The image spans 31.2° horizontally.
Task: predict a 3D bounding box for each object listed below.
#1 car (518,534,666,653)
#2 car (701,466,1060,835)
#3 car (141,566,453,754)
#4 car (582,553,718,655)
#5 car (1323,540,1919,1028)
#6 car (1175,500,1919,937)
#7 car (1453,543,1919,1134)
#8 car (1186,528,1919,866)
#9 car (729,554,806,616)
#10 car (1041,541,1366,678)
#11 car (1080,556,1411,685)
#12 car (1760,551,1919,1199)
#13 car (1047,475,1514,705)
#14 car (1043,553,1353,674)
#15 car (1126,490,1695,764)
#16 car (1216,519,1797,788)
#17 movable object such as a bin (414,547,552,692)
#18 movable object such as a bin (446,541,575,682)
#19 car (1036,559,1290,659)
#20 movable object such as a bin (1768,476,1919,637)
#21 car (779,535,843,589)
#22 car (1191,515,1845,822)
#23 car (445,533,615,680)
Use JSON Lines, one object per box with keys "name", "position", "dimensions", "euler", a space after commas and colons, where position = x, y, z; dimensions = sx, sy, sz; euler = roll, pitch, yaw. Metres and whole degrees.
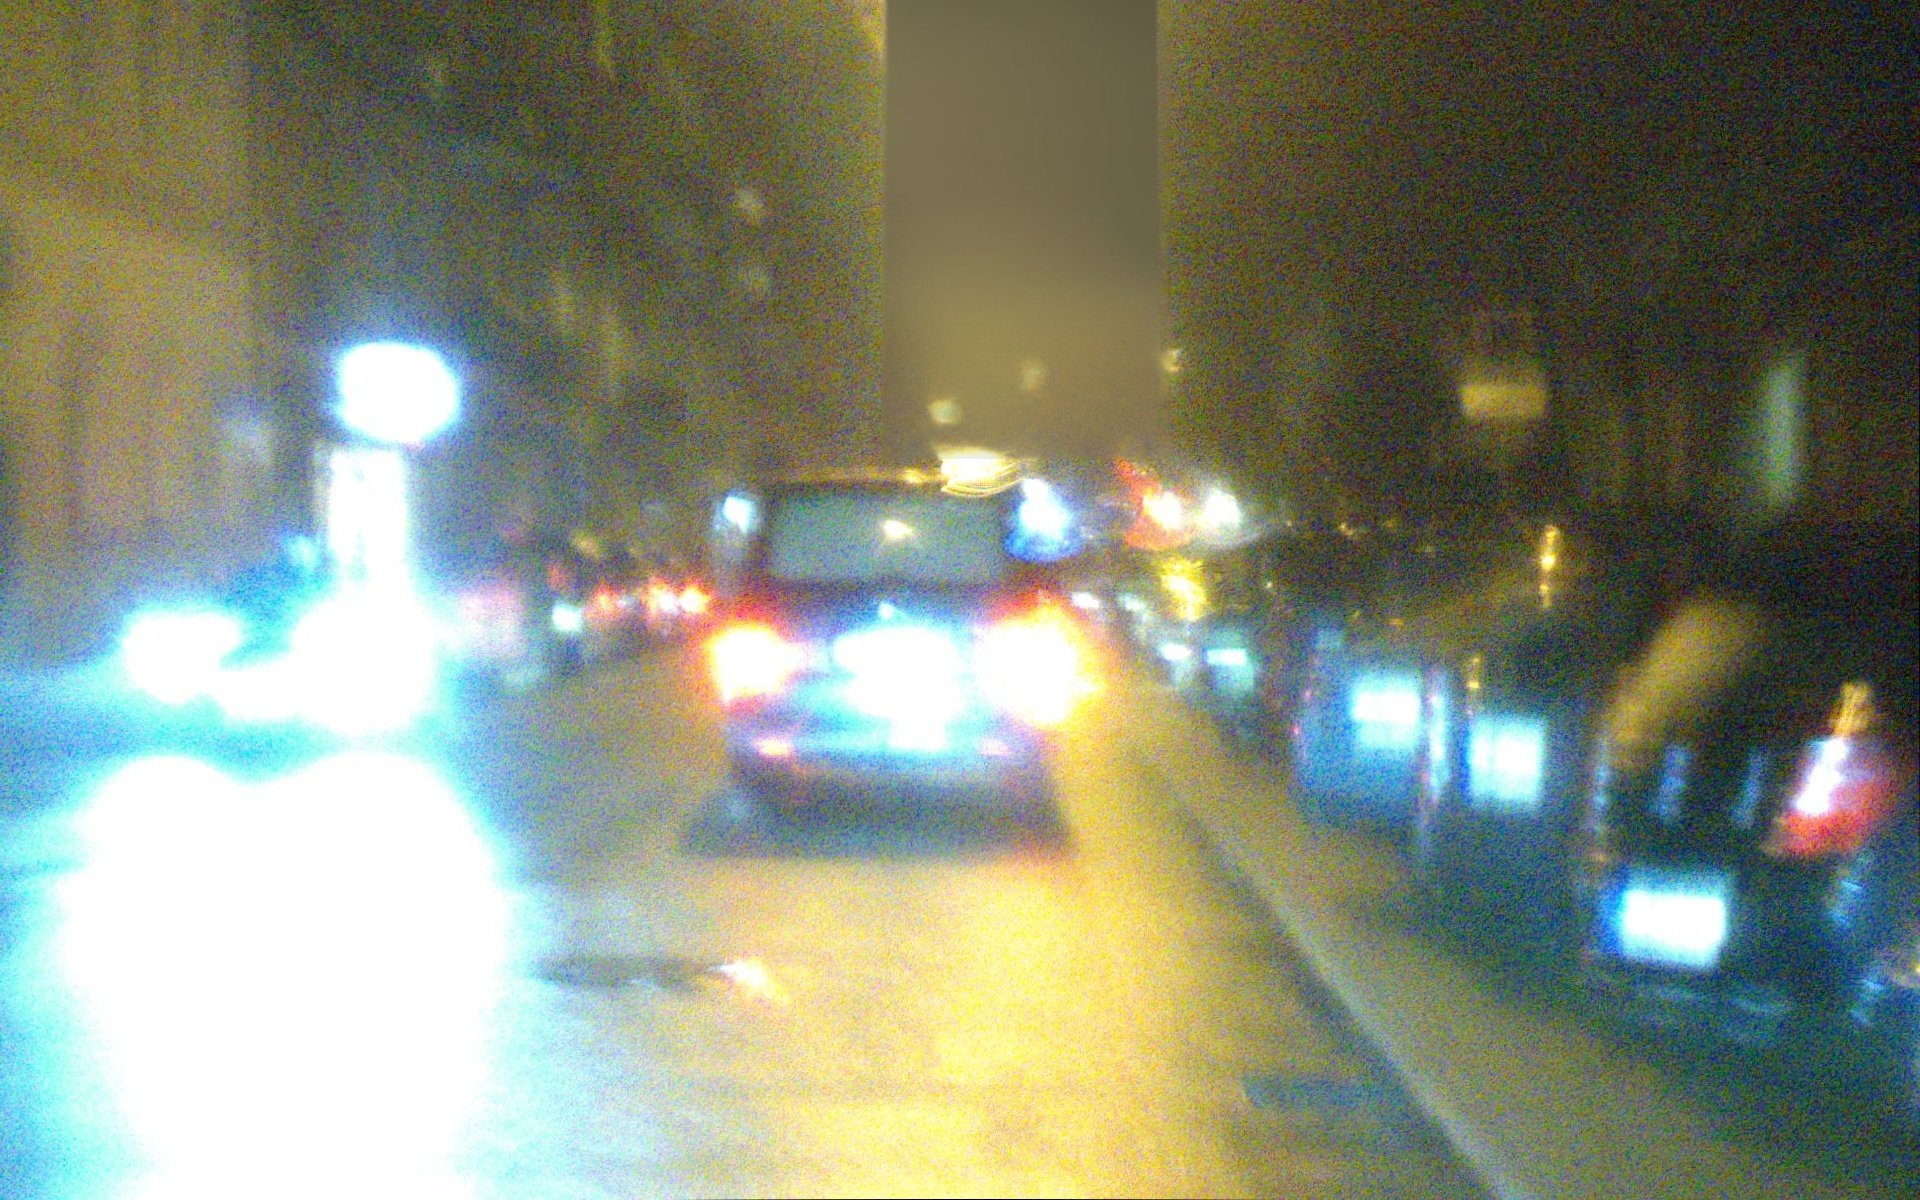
{"name": "car", "position": [-5.065, -0.126, 47.679], "dimensions": [1.603, 1.547, 4.025], "euler": [1, 1, 0]}
{"name": "car", "position": [-0.430, 0.272, 21.104], "dimensions": [1.993, 2.043, 4.000], "euler": [0, 0, 0]}
{"name": "car", "position": [-5.171, 0.417, 27.294], "dimensions": [1.654, 1.354, 4.222], "euler": [0, 1, 0]}
{"name": "car", "position": [-4.741, 0.027, 53.001], "dimensions": [1.686, 1.450, 4.316], "euler": [1, 1, 0]}
{"name": "car", "position": [3.338, 0.600, 12.772], "dimensions": [3.553, 1.605, 1.713], "euler": [0, 1, -21]}
{"name": "car", "position": [3.225, 0.467, 15.438], "dimensions": [4.092, 1.758, 1.859], "euler": [0, 1, -21]}
{"name": "car", "position": [3.193, 0.621, 10.273], "dimensions": [3.038, 1.546, 1.505], "euler": [0, 1, -21]}
{"name": "car", "position": [3.416, 0.452, 17.914], "dimensions": [4.048, 1.605, 1.845], "euler": [0, 1, -21]}
{"name": "car", "position": [-4.791, -0.391, 85.927], "dimensions": [1.587, 1.477, 3.793], "euler": [1, 1, 1]}
{"name": "car", "position": [2.972, 0.098, 41.816], "dimensions": [3.641, 1.536, 1.560], "euler": [-2, 1, -29]}
{"name": "car", "position": [3.772, 0.248, 45.171], "dimensions": [3.988, 1.547, 1.999], "euler": [-2, 1, -37]}
{"name": "car", "position": [3.858, 0.579, 7.773], "dimensions": [3.699, 1.517, 1.657], "euler": [-3, 1, -25]}
{"name": "car", "position": [3.399, -0.139, 36.028], "dimensions": [4.711, 2.240, 1.946], "euler": [-2, 1, -36]}
{"name": "car", "position": [3.318, 0.168, 47.638], "dimensions": [3.987, 1.547, 1.804], "euler": [-2, 1, -34]}
{"name": "car", "position": [3.521, 0.167, 26.525], "dimensions": [4.234, 1.852, 1.716], "euler": [-3, 1, -35]}
{"name": "car", "position": [3.804, 0.326, 23.770], "dimensions": [3.762, 1.722, 1.717], "euler": [0, 1, -33]}
{"name": "movable object such as a bin", "position": [-4.935, 0.191, 35.624], "dimensions": [1.208, 1.454, 1.107], "euler": [1, 1, 3]}
{"name": "movable object such as a bin", "position": [-4.798, 0.117, 36.784], "dimensions": [1.165, 1.454, 1.107], "euler": [1, 1, 3]}
{"name": "car", "position": [3.232, 0.128, 54.729], "dimensions": [3.671, 1.455, 1.604], "euler": [-2, 1, -24]}
{"name": "movable object such as a bin", "position": [8.608, -0.421, 33.346], "dimensions": [1.209, 1.446, 0.999], "euler": [-5, 1, 1]}
{"name": "car", "position": [-4.416, -1.125, 101.571], "dimensions": [1.812, 1.552, 4.077], "euler": [0, 1, -3]}
{"name": "car", "position": [3.444, 0.355, 21.022], "dimensions": [3.791, 1.722, 1.741], "euler": [0, 1, -35]}
{"name": "car", "position": [-5.185, 0.053, 41.799], "dimensions": [1.603, 1.700, 3.721], "euler": [0, 1, 0]}
